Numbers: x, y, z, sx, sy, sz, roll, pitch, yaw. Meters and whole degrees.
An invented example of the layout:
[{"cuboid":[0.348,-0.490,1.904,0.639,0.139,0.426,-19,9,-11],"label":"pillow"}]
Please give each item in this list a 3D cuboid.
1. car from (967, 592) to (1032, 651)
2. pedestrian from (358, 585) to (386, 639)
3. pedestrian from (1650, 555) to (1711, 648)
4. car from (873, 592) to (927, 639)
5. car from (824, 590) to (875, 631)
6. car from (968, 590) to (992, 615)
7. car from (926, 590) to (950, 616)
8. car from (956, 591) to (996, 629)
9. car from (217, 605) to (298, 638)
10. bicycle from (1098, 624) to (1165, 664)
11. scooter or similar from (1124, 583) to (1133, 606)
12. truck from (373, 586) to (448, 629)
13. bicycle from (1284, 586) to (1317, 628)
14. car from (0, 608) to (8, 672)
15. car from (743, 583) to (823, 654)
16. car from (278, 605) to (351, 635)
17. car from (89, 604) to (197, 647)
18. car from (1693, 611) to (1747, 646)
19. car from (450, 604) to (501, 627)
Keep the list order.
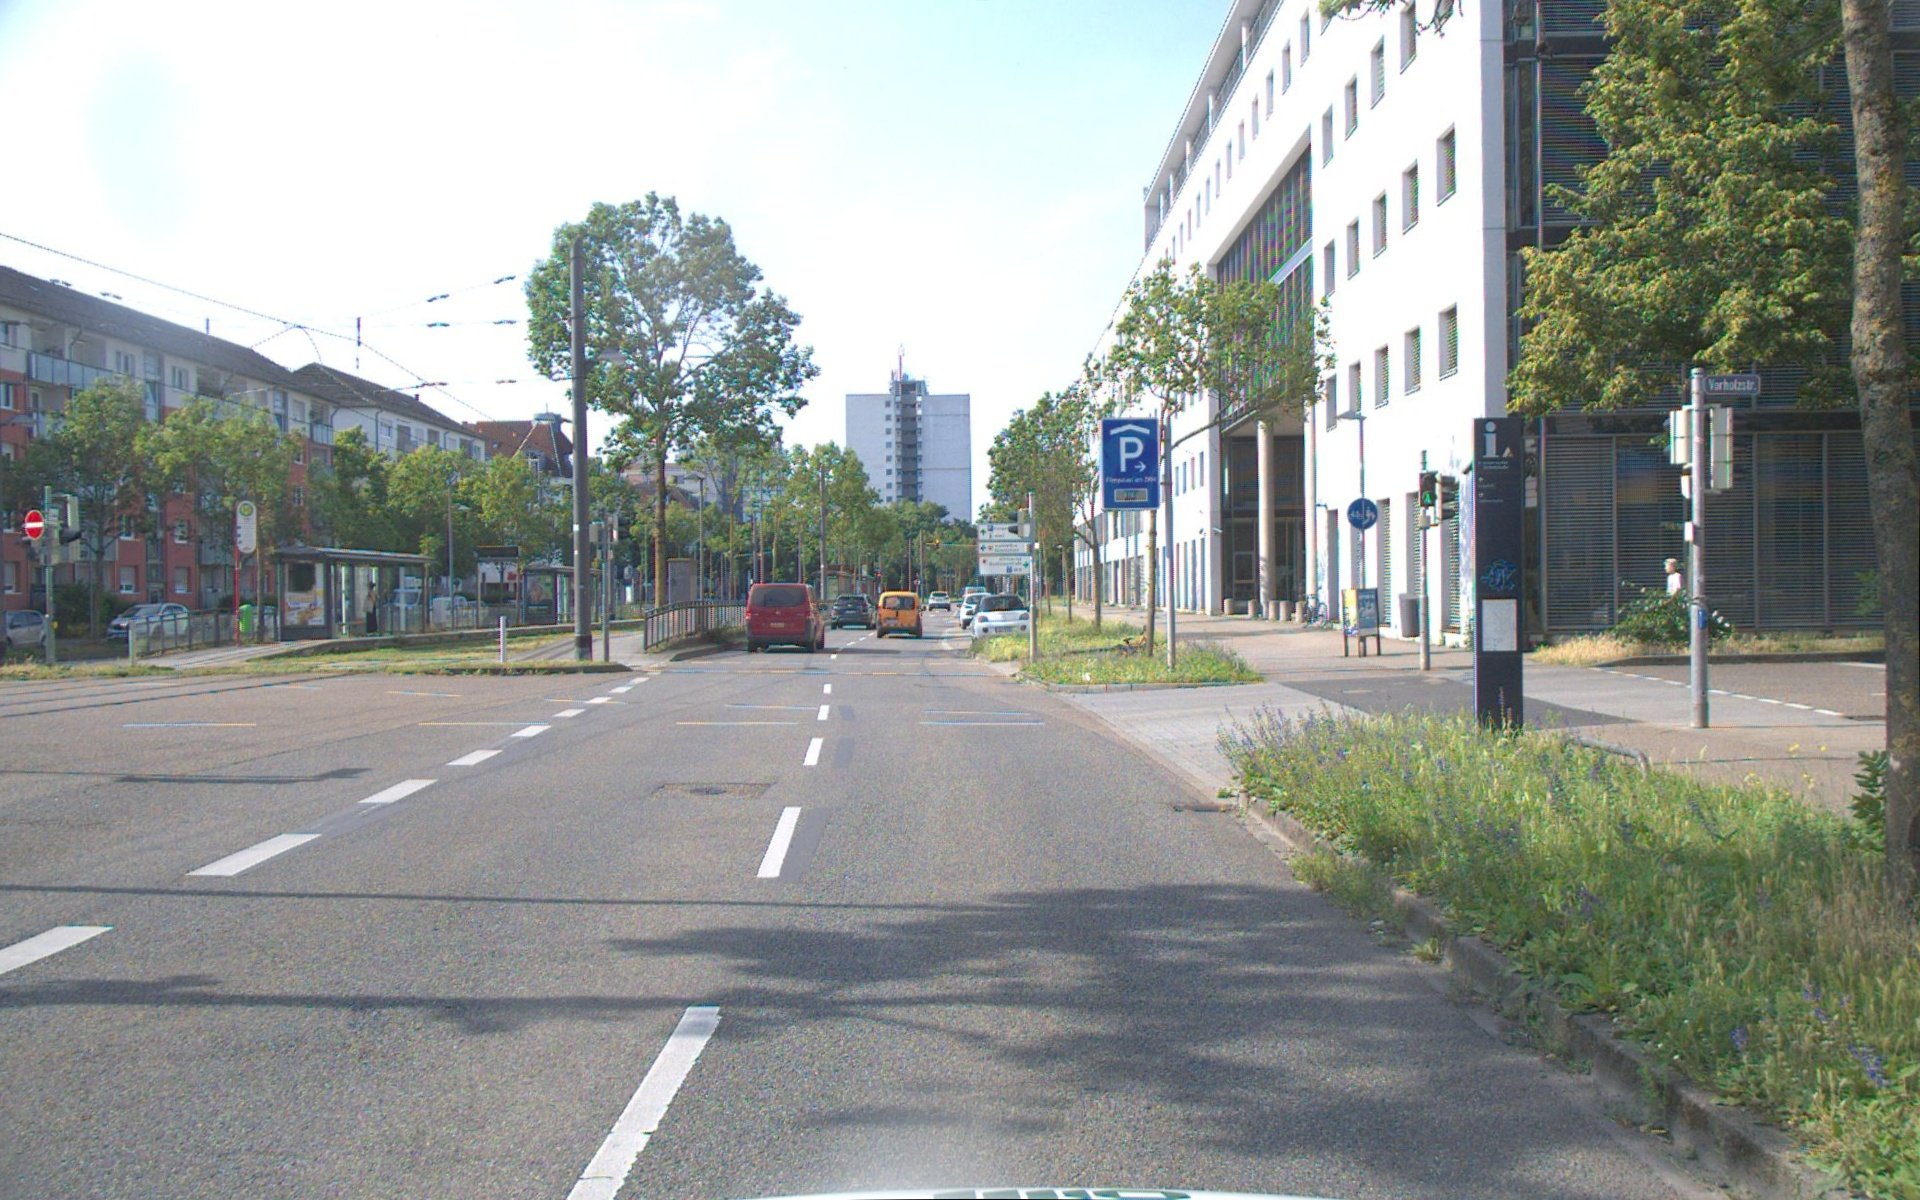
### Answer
[{"cuboid":[1.095,0.584,47.385,1.685,1.545,3.781,-1,1,-1],"label":"car"},{"cuboid":[-18.840,0.381,53.009,0.658,1.682,0.794,-1,0,-4],"label":"pedestrian"},{"cuboid":[13.015,0.030,29.879,0.761,1.644,0.713,-1,0,-1],"label":"pedestrian"},{"cuboid":[-2.256,0.554,62.800,1.837,1.726,3.974,-1,0,1],"label":"car"},{"cuboid":[-4.871,0.470,73.585,1.953,1.736,4.000,-1,0,0],"label":"car"},{"cuboid":[1.640,0.198,137.299,1.953,2.049,4.000,-1,0,0],"label":"car"},{"cuboid":[-1.837,0.257,136.220,1.953,2.049,3.999,-1,0,-1],"label":"car"},{"cuboid":[0.715,0.413,73.371,1.654,1.552,3.851,-3,0,0],"label":"car"},{"cuboid":[-31.448,0.953,74.160,1.940,1.384,4.069,1,0,-1],"label":"car"},{"cuboid":[3.445,0.875,33.194,1.244,0.643,0.521,-7,-1,7],"label":"bicycle"},{"cuboid":[9.164,-0.322,89.835,0.452,1.234,1.255,-2,0,6],"label":"scooter or similar"},{"cuboid":[-34.502,0.457,104.033,2.317,2.607,7.240,1,0,-1],"label":"truck"},{"cuboid":[9.431,0.190,45.794,0.484,1.105,1.549,-2,0,-3],"label":"bicycle"},{"cuboid":[-27.118,1.110,43.008,1.952,1.736,4.713,0,0,1],"label":"car"},{"cuboid":[-4.918,0.499,46.392,1.836,1.886,3.999,-1,0,-1],"label":"car"},{"cuboid":[-31.058,0.959,79.667,1.940,1.384,4.069,1,0,-1],"label":"car"},{"cuboid":[-31.668,0.950,64.276,1.940,1.583,4.536,1,0,-1],"label":"car"},{"cuboid":[13.797,0.515,30.039,0.750,0.598,0.498,-1,0,-3],"label":"car"},{"cuboid":[-30.977,0.960,105.840,1.940,1.403,4.683,1,0,-1],"label":"car"}]
